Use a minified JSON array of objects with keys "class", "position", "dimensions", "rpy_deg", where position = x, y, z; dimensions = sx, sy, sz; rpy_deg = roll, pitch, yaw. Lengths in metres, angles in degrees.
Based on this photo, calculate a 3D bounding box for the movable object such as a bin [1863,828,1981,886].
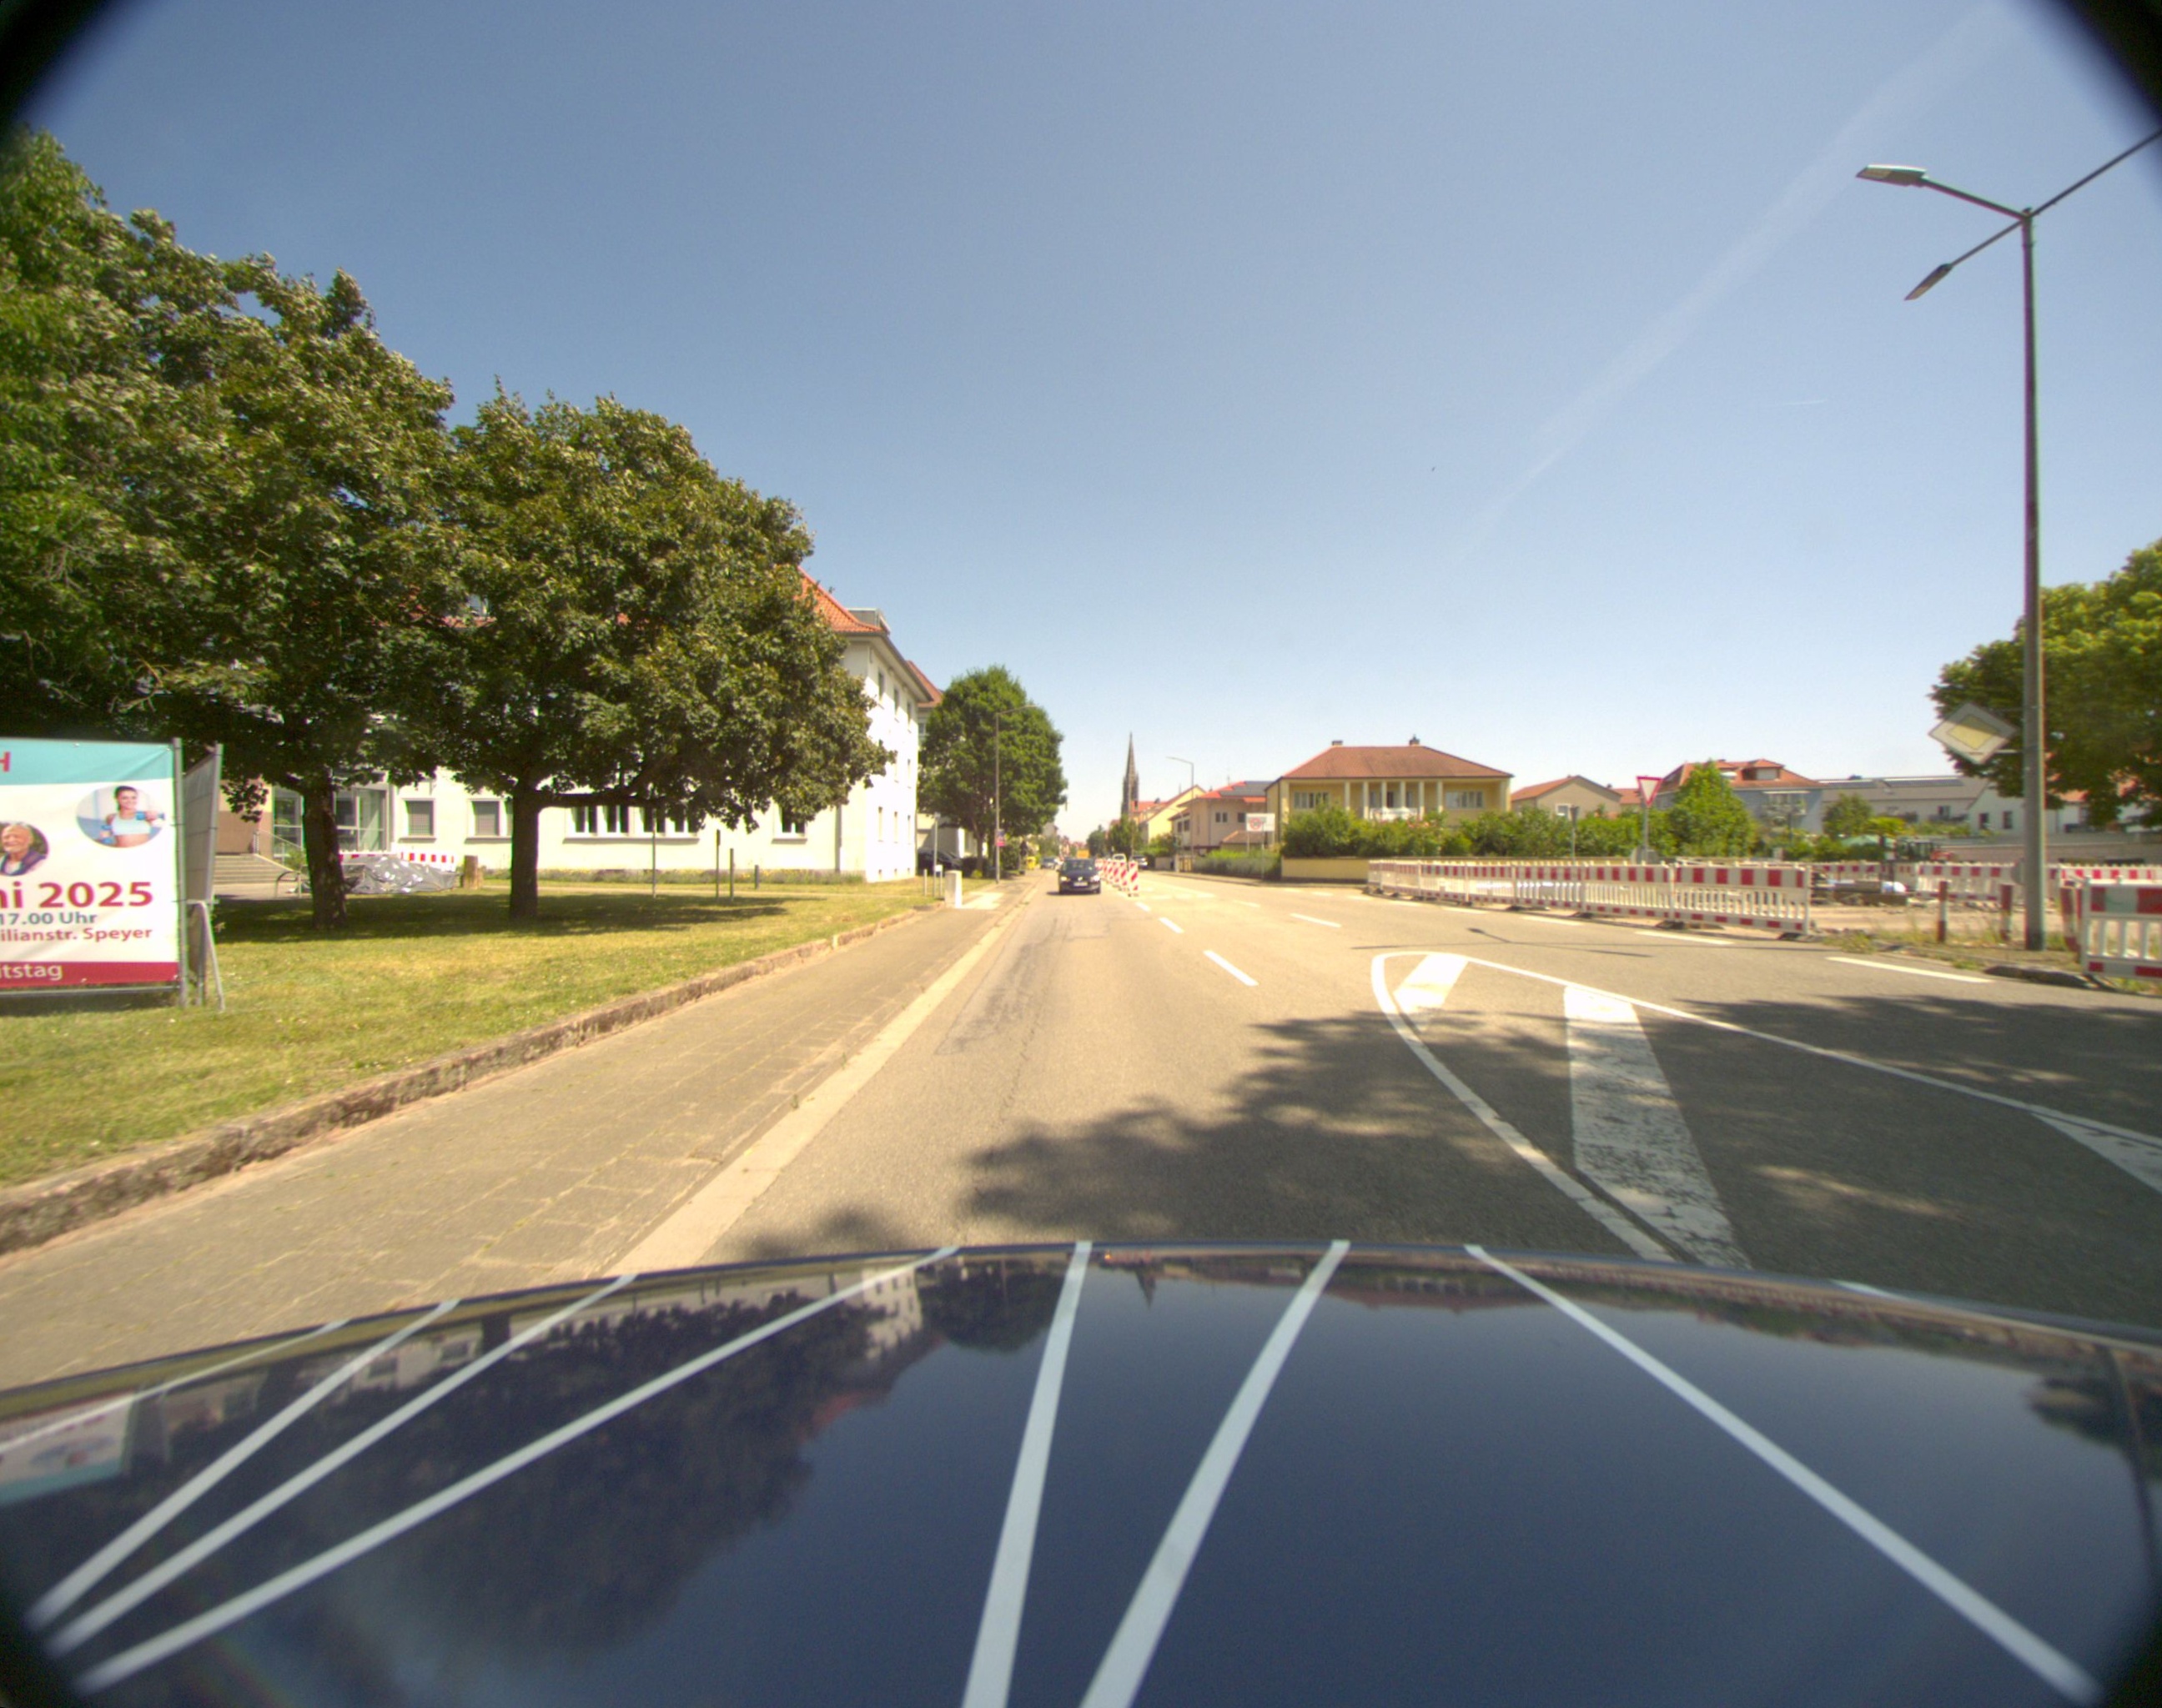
[{"class":"movable object such as a bin","position":[41.515,0.133,37.650],"dimensions":[2.273,2.719,3.936],"rpy_deg":[1,0,19]}]

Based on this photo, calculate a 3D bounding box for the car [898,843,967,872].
[{"class":"car","position":[-10.160,0.236,52.204],"dimensions":[4.368,1.776,1.999],"rpy_deg":[2,0,-4]}]

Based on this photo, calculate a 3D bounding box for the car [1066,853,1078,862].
[{"class":"car","position":[-1.548,0.560,125.957],"dimensions":[1.712,1.449,3.562],"rpy_deg":[0,0,-5]}]

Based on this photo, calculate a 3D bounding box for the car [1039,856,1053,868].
[{"class":"car","position":[-4.268,0.925,92.922],"dimensions":[1.607,1.403,3.908],"rpy_deg":[-1,0,-1]}]

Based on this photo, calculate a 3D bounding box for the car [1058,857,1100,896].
[{"class":"car","position":[-0.044,0.872,31.322],"dimensions":[1.607,1.436,3.909],"rpy_deg":[-1,0,1]}]

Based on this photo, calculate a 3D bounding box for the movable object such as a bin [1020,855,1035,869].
[{"class":"movable object such as a bin","position":[-5.813,0.842,82.786],"dimensions":[1.499,1.472,1.422],"rpy_deg":[1,0,-3]}]

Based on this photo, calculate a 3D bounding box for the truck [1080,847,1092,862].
[{"class":"truck","position":[1.032,0.027,152.685],"dimensions":[2.223,2.921,5.349],"rpy_deg":[0,0,-2]}]

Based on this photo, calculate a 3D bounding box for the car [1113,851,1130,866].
[{"class":"car","position":[5.169,0.561,97.118],"dimensions":[1.719,1.776,3.888],"rpy_deg":[1,0,-2]}]

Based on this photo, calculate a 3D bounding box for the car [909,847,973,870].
[{"class":"car","position":[-10.202,0.316,55.547],"dimensions":[4.368,1.517,1.999],"rpy_deg":[2,0,-4]}]

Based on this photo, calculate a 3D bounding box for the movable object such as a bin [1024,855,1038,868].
[{"class":"movable object such as a bin","position":[-5.515,0.836,84.495],"dimensions":[1.499,1.472,1.422],"rpy_deg":[1,0,-3]}]

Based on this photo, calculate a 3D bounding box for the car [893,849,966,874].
[{"class":"car","position":[-9.794,0.498,49.430],"dimensions":[4.368,1.427,1.999],"rpy_deg":[2,0,-4]}]

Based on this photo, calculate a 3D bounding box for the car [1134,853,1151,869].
[{"class":"car","position":[6.226,0.659,77.220],"dimensions":[1.390,1.568,3.320],"rpy_deg":[0,0,-2]}]
